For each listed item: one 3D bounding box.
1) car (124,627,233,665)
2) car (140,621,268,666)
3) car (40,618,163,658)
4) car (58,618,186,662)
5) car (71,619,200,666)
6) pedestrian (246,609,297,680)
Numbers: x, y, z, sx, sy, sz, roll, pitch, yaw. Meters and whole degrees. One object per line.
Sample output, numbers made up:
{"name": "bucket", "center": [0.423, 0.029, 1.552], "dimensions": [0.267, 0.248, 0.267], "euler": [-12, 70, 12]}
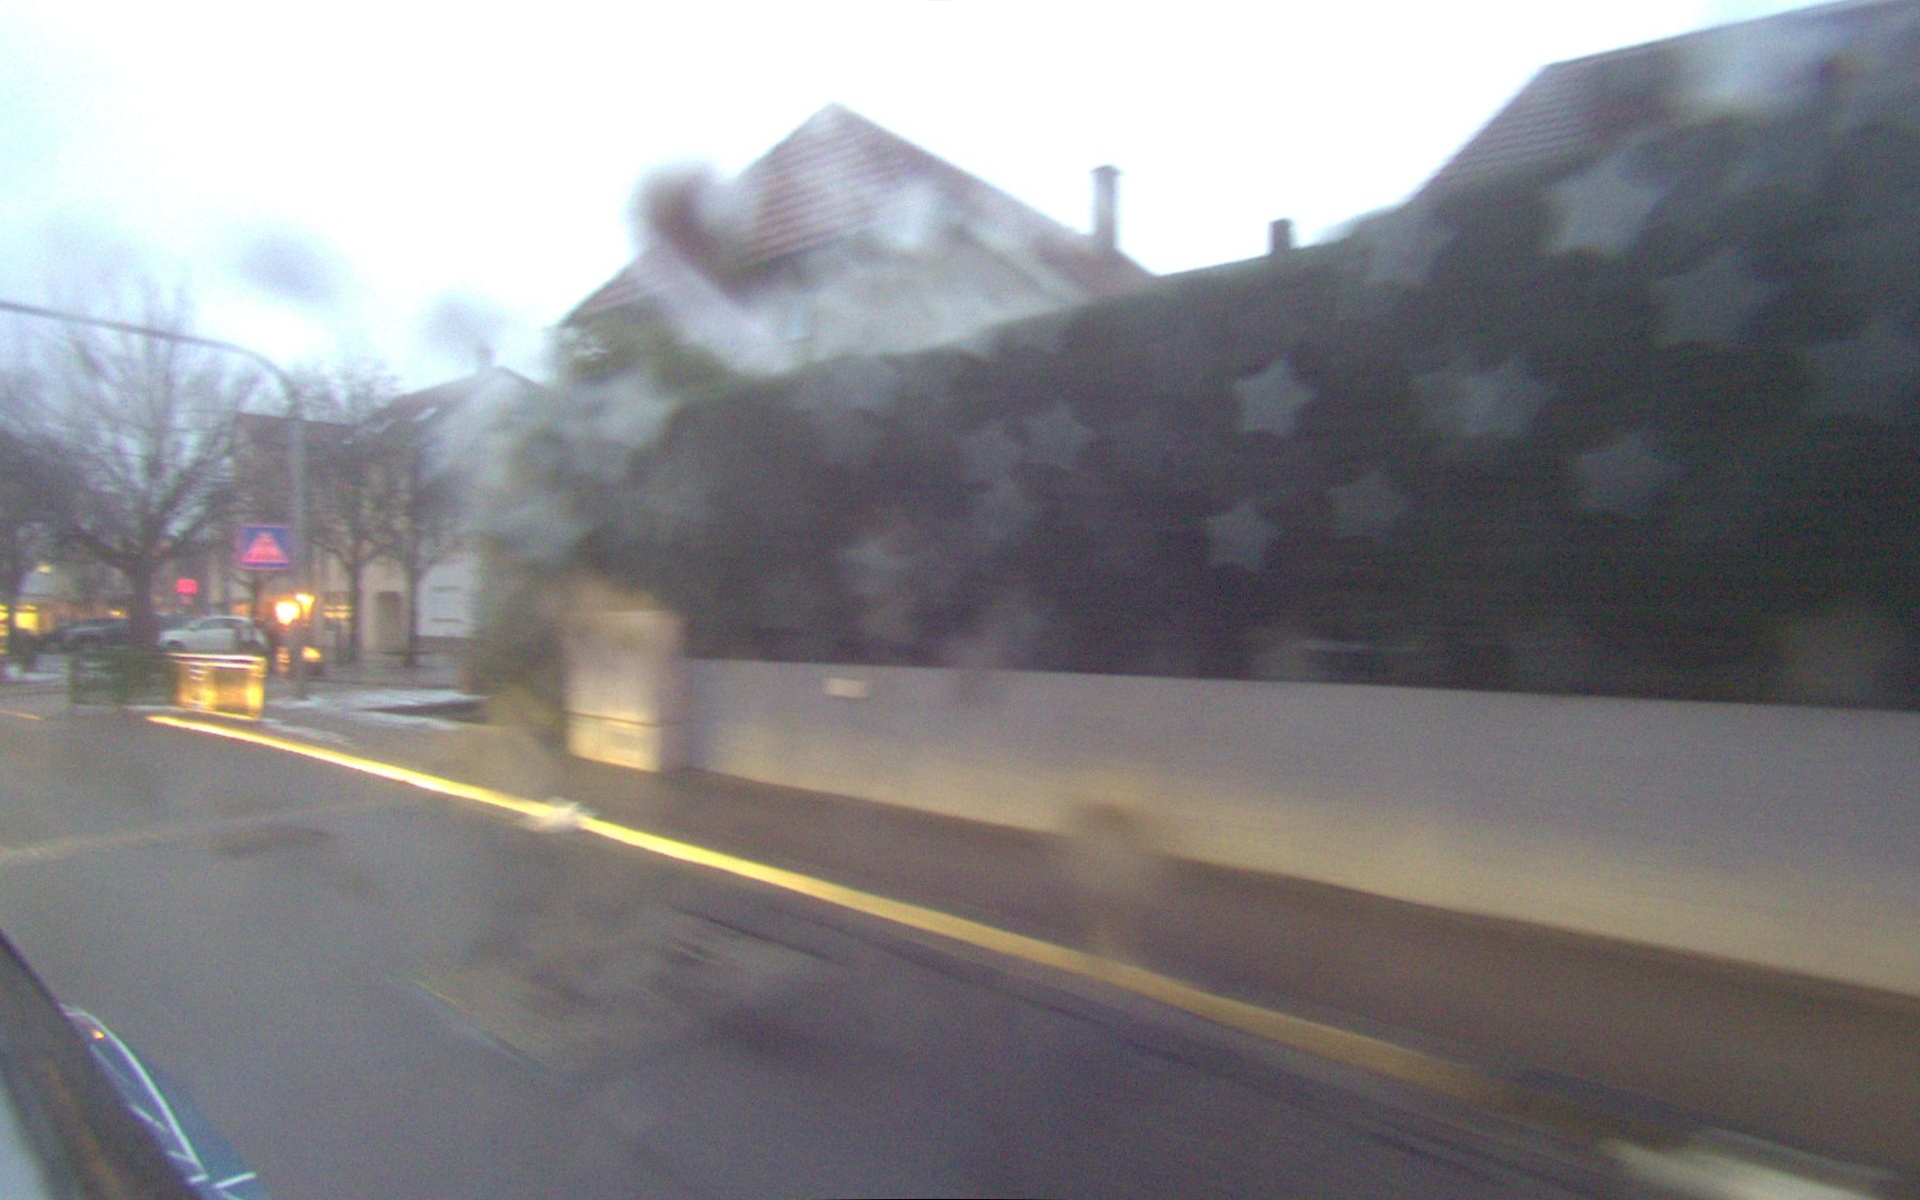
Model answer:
{"name": "car", "center": [-29.367, 1.700, 38.133], "dimensions": [3.003, 1.229, 1.615], "euler": [-2, 0, -28]}
{"name": "car", "center": [-27.233, 1.530, 36.574], "dimensions": [3.425, 1.420, 1.615], "euler": [-2, 0, -26]}
{"name": "car", "center": [-37.982, 1.671, 44.884], "dimensions": [3.932, 1.644, 1.639], "euler": [-1, -1, -31]}
{"name": "car", "center": [-34.261, 1.624, 41.528], "dimensions": [3.934, 1.644, 1.638], "euler": [0, -1, -36]}
{"name": "car", "center": [-31.938, 1.629, 39.321], "dimensions": [3.572, 1.624, 1.615], "euler": [-2, 0, -28]}
{"name": "pedestrian", "center": [-17.479, 1.117, 25.683], "dimensions": [0.956, 1.748, 0.870], "euler": [-3, -1, 44]}
